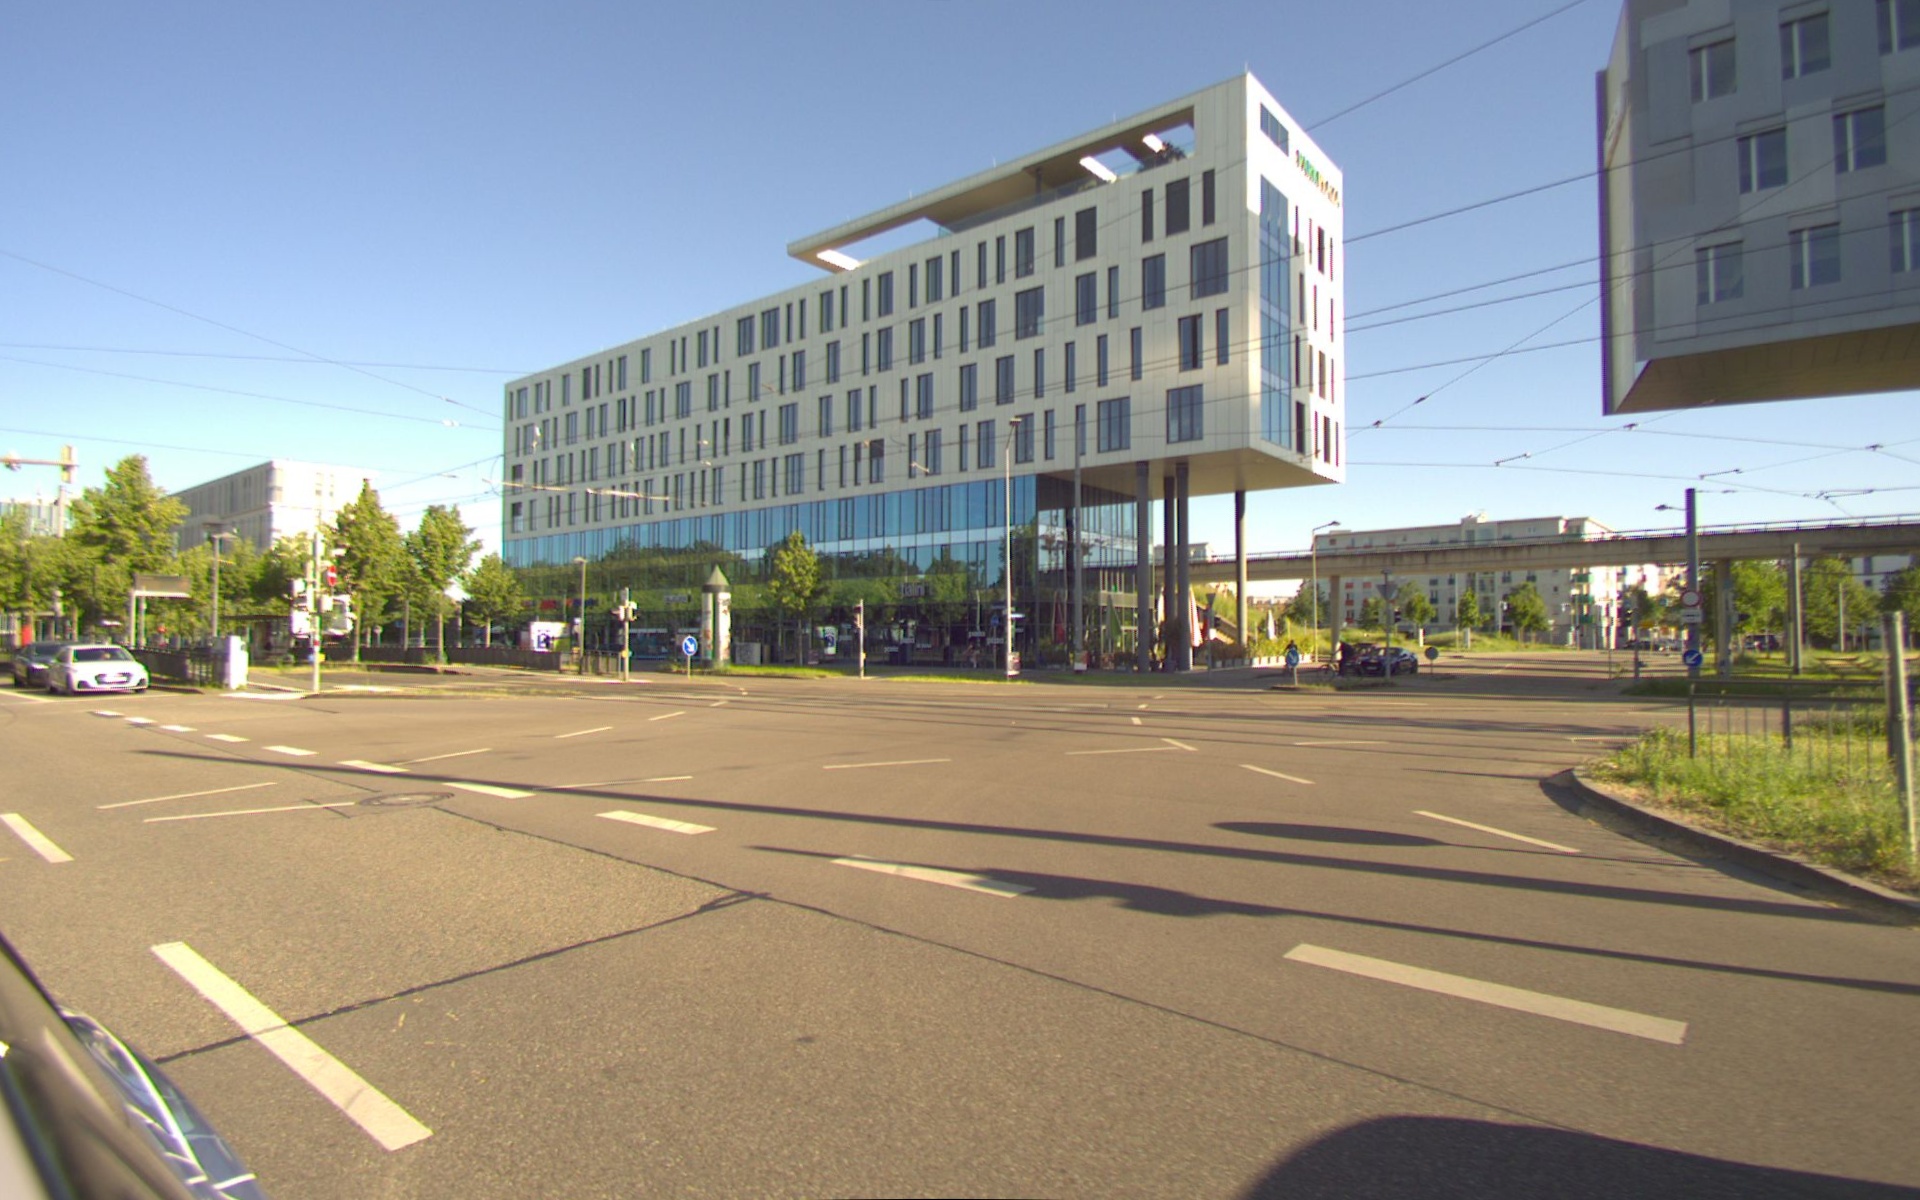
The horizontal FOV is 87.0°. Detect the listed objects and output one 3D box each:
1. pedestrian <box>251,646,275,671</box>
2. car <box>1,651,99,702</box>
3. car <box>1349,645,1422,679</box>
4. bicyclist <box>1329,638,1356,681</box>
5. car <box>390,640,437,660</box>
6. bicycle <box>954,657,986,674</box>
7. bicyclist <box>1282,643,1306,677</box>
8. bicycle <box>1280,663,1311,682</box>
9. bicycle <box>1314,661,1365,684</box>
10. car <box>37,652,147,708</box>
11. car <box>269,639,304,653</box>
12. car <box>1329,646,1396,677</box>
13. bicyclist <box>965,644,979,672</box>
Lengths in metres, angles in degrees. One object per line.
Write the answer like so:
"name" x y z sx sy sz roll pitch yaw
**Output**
"pedestrian" -42.513 3.575 61.749 0.844 1.478 1.054 -3 -3 44
"car" -30.286 2.495 33.643 4.338 1.538 1.781 -2 -2 39
"car" 20.388 2.945 48.471 2.000 1.577 3.944 -3 -4 42
"bicyclist" 15.359 2.386 40.628 0.837 1.739 0.524 -3 -4 41
"car" -43.744 3.988 80.928 4.338 1.538 1.781 -2 -2 39
"bicycle" 0.516 3.397 52.488 1.686 0.869 0.478 -2 -3 32
"bicyclist" 15.972 2.877 48.346 0.750 1.595 0.943 -3 -4 41
"bicycle" 16.022 3.457 48.364 0.749 0.869 1.805 -3 -4 41
"bicycle" 15.241 2.903 40.704 1.833 0.869 0.522 -3 -4 41
"car" -25.087 2.255 29.218 3.999 1.437 1.655 -2 -2 38
"car" -67.128 4.598 100.855 3.997 1.365 1.851 -2 -2 41
"car" 21.462 3.253 53.906 2.000 1.577 3.944 -3 -4 42
"bicyclist" 0.624 2.986 52.441 0.551 1.434 0.478 -2 -3 32
